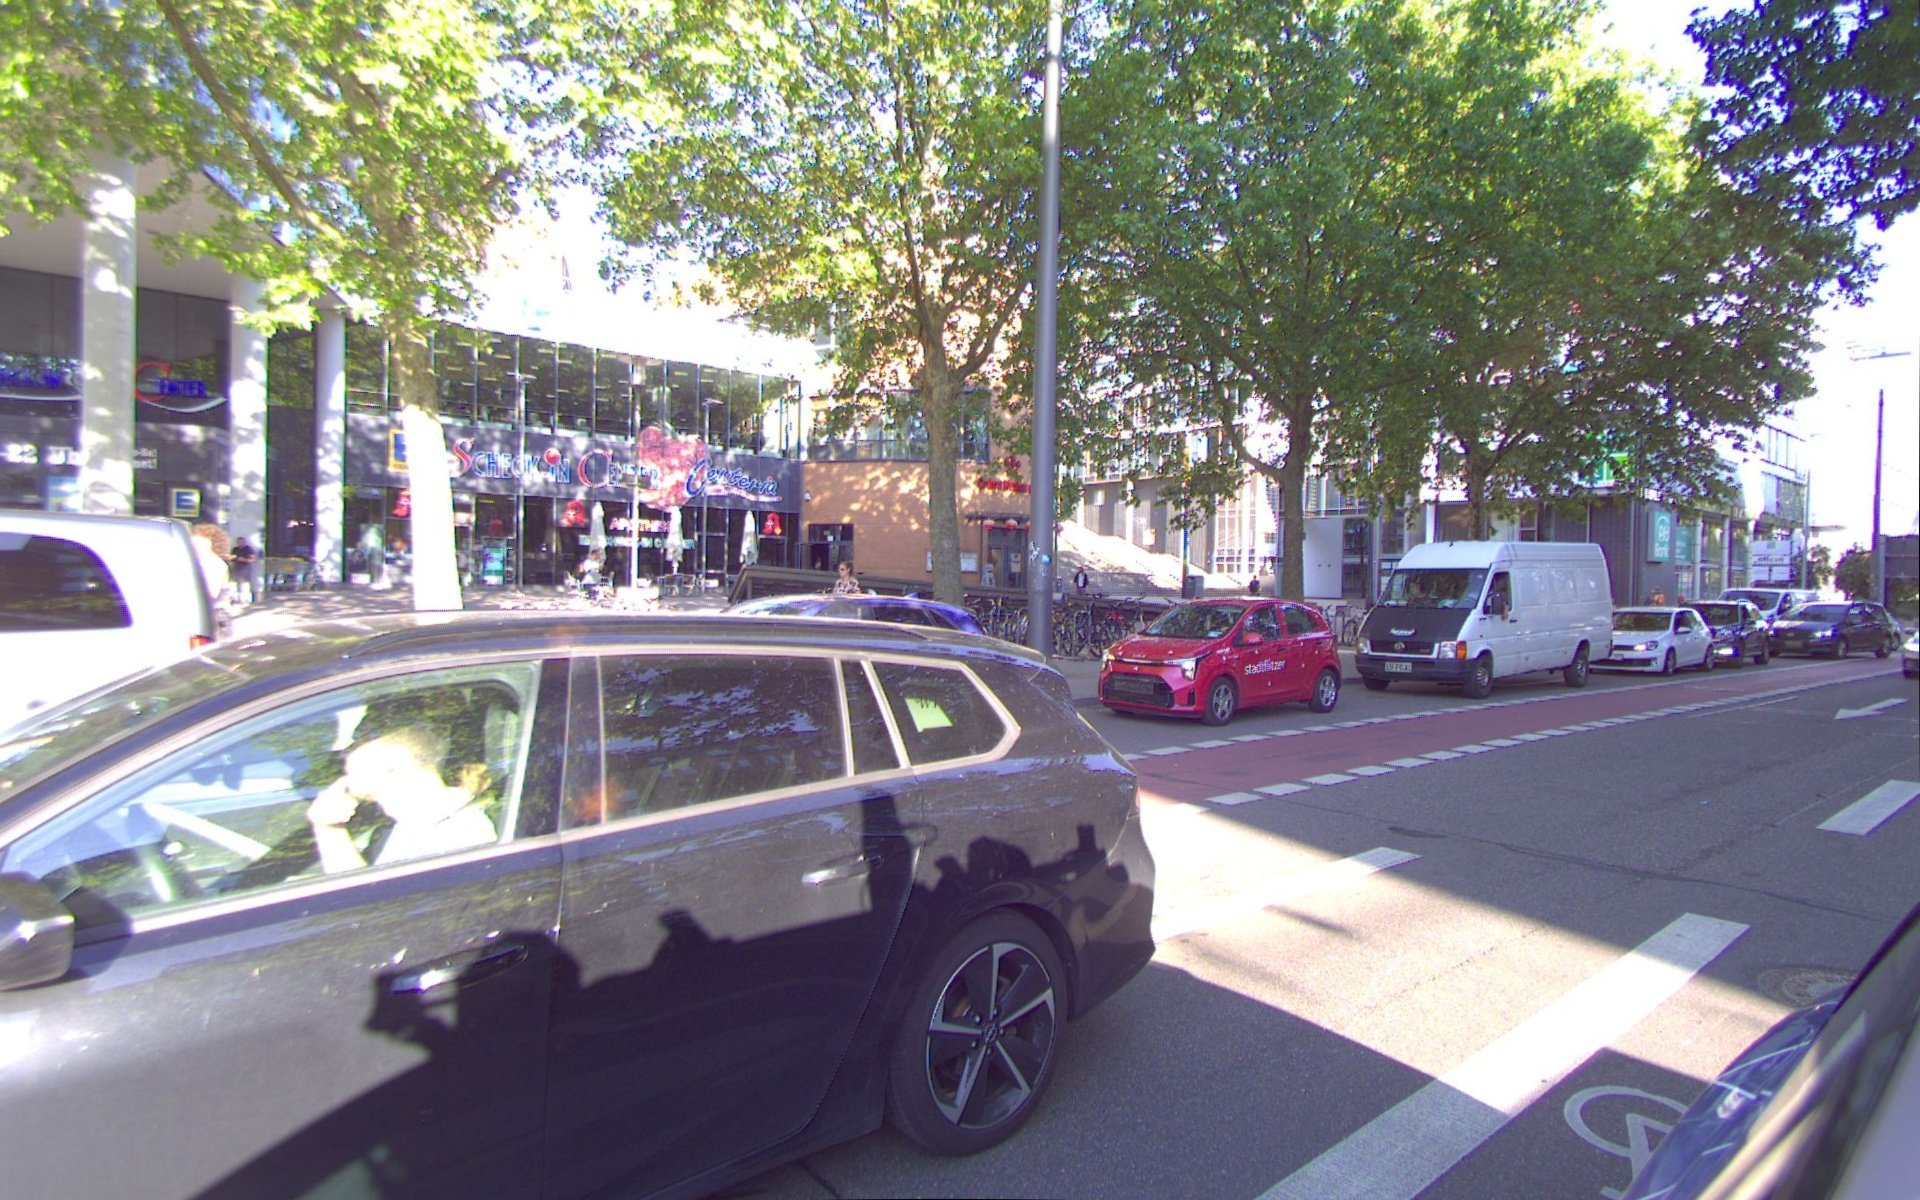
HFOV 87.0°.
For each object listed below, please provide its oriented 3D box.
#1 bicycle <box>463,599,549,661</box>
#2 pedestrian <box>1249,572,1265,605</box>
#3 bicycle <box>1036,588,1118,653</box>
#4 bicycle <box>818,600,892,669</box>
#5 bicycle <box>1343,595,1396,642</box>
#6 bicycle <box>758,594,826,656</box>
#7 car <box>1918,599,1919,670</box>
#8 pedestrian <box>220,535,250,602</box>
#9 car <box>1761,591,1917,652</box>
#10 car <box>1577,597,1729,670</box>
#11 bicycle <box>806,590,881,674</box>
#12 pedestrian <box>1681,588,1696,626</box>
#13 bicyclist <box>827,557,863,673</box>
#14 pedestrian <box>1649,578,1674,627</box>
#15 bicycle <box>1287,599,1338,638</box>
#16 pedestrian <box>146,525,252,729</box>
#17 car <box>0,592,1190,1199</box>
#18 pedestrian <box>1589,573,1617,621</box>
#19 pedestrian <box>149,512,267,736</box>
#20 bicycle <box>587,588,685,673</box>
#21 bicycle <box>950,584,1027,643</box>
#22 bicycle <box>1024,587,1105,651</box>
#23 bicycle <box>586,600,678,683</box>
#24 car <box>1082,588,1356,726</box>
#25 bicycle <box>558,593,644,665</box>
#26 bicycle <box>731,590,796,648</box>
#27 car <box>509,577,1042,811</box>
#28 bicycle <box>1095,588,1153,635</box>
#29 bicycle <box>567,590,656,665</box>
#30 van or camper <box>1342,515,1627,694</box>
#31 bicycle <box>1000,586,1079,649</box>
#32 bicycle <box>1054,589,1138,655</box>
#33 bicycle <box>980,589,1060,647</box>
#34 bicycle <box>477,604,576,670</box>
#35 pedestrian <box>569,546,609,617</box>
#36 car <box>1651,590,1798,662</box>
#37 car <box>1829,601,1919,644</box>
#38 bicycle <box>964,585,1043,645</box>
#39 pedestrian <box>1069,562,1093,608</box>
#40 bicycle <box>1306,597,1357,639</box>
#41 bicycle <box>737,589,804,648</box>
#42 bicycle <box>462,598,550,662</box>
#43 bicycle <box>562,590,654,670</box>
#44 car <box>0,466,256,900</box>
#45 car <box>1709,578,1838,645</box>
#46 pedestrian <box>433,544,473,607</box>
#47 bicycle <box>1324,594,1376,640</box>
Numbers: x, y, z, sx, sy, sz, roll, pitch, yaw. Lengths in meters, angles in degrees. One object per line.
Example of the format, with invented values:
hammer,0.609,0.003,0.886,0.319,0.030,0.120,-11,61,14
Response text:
bicycle,-7.122,0.463,15.923,1.198,0.938,0.465,1,1,-22
pedestrian,14.448,-0.551,49.263,0.707,1.578,0.638,1,1,14
bicycle,2.298,0.388,19.752,1.818,1.209,0.448,0,1,-41
bicycle,-1.772,0.563,17.131,1.202,1.110,0.420,0,1,-40
bicycle,11.032,0.478,27.235,1.818,1.209,0.521,0,2,-41
bicycle,-3.121,0.444,18.834,1.202,1.110,0.427,0,1,-40
car,21.772,0.716,21.406,3.928,1.458,1.733,0,0,-39
pedestrian,-18.784,-0.804,26.225,0.506,1.707,0.604,1,1,-23
car,25.320,0.583,29.145,4.242,1.640,1.970,0,1,-28
car,15.310,0.676,22.291,3.927,1.446,1.683,0,1,-38
bicycle,-1.819,0.480,15.826,1.126,1.271,0.379,0,1,-41
pedestrian,27.410,0.261,38.057,0.492,1.392,0.301,0,1,-37
bicyclist,-1.798,0.226,15.816,0.392,1.782,0.390,0,1,-41
pedestrian,26.247,0.084,37.850,0.443,1.790,0.627,0,1,-38
bicycle,9.925,0.506,28.456,1.818,1.046,0.515,0,2,-41
pedestrian,-7.113,0.232,9.456,0.750,1.799,0.648,1,1,-39
car,-1.420,0.698,2.473,4.196,1.432,1.742,0,0,-41
pedestrian,24.283,-0.117,38.211,0.516,1.790,0.716,0,1,-39
pedestrian,-6.639,0.193,8.957,0.799,1.868,0.643,1,1,-37
bicycle,-4.436,0.399,13.886,1.202,1.110,0.413,0,1,-40
bicycle,0.636,0.271,21.703,1.818,1.209,0.434,0,1,-41
bicycle,2.110,0.362,20.261,1.818,1.209,0.484,0,2,-41
bicycle,-4.581,0.564,14.183,1.202,1.110,0.269,0,1,-40
car,3.355,0.609,12.811,3.588,1.476,1.605,0,1,-41
bicycle,-5.781,0.452,16.332,0.414,1.110,1.269,2,1,41
bicycle,-3.888,0.372,20.051,1.202,1.110,0.429,0,1,-40
car,-1.393,0.597,8.640,4.177,1.503,1.742,0,2,-41
bicycle,4.397,0.305,27.060,1.759,1.209,0.517,0,2,-41
bicycle,-5.360,0.406,15.590,0.372,1.110,1.269,2,1,41
van or camper,9.276,0.054,17.552,6.456,2.611,1.998,0,0,-39
bicycle,1.628,0.339,20.522,1.818,1.209,0.447,0,1,-41
bicycle,2.620,0.399,19.367,1.818,1.209,0.481,0,1,-41
bicycle,1.255,0.351,20.971,1.818,1.139,0.484,0,2,-41
bicycle,-6.239,0.518,14.598,1.231,0.898,0.462,0,1,-40
pedestrian,-9.605,-0.486,26.217,0.869,1.805,0.604,1,1,-11
car,19.108,0.592,25.243,4.148,1.640,1.819,0,1,-36
car,32.231,0.747,35.583,3.927,1.394,1.802,0,2,-38
bicycle,0.934,0.297,21.350,1.818,1.209,0.458,0,1,-41
pedestrian,5.494,-0.695,45.892,0.872,2.062,0.578,2,1,39
bicycle,10.308,0.480,28.046,1.766,1.108,0.522,0,2,-41
bicycle,-3.643,0.343,19.507,1.202,1.110,0.444,0,1,-40
bicycle,-6.959,0.453,15.545,1.198,0.930,0.442,1,1,-22
bicycle,-5.158,0.424,14.842,1.202,1.110,0.396,0,1,-40
car,-6.209,0.357,4.392,5.008,2.004,1.940,0,2,-41
car,26.432,0.346,32.835,4.863,2.020,1.968,0,1,-35
pedestrian,-14.174,-0.688,28.298,0.801,1.728,0.709,2,1,34
bicycle,10.664,0.451,27.633,1.818,1.209,0.495,0,2,-41
